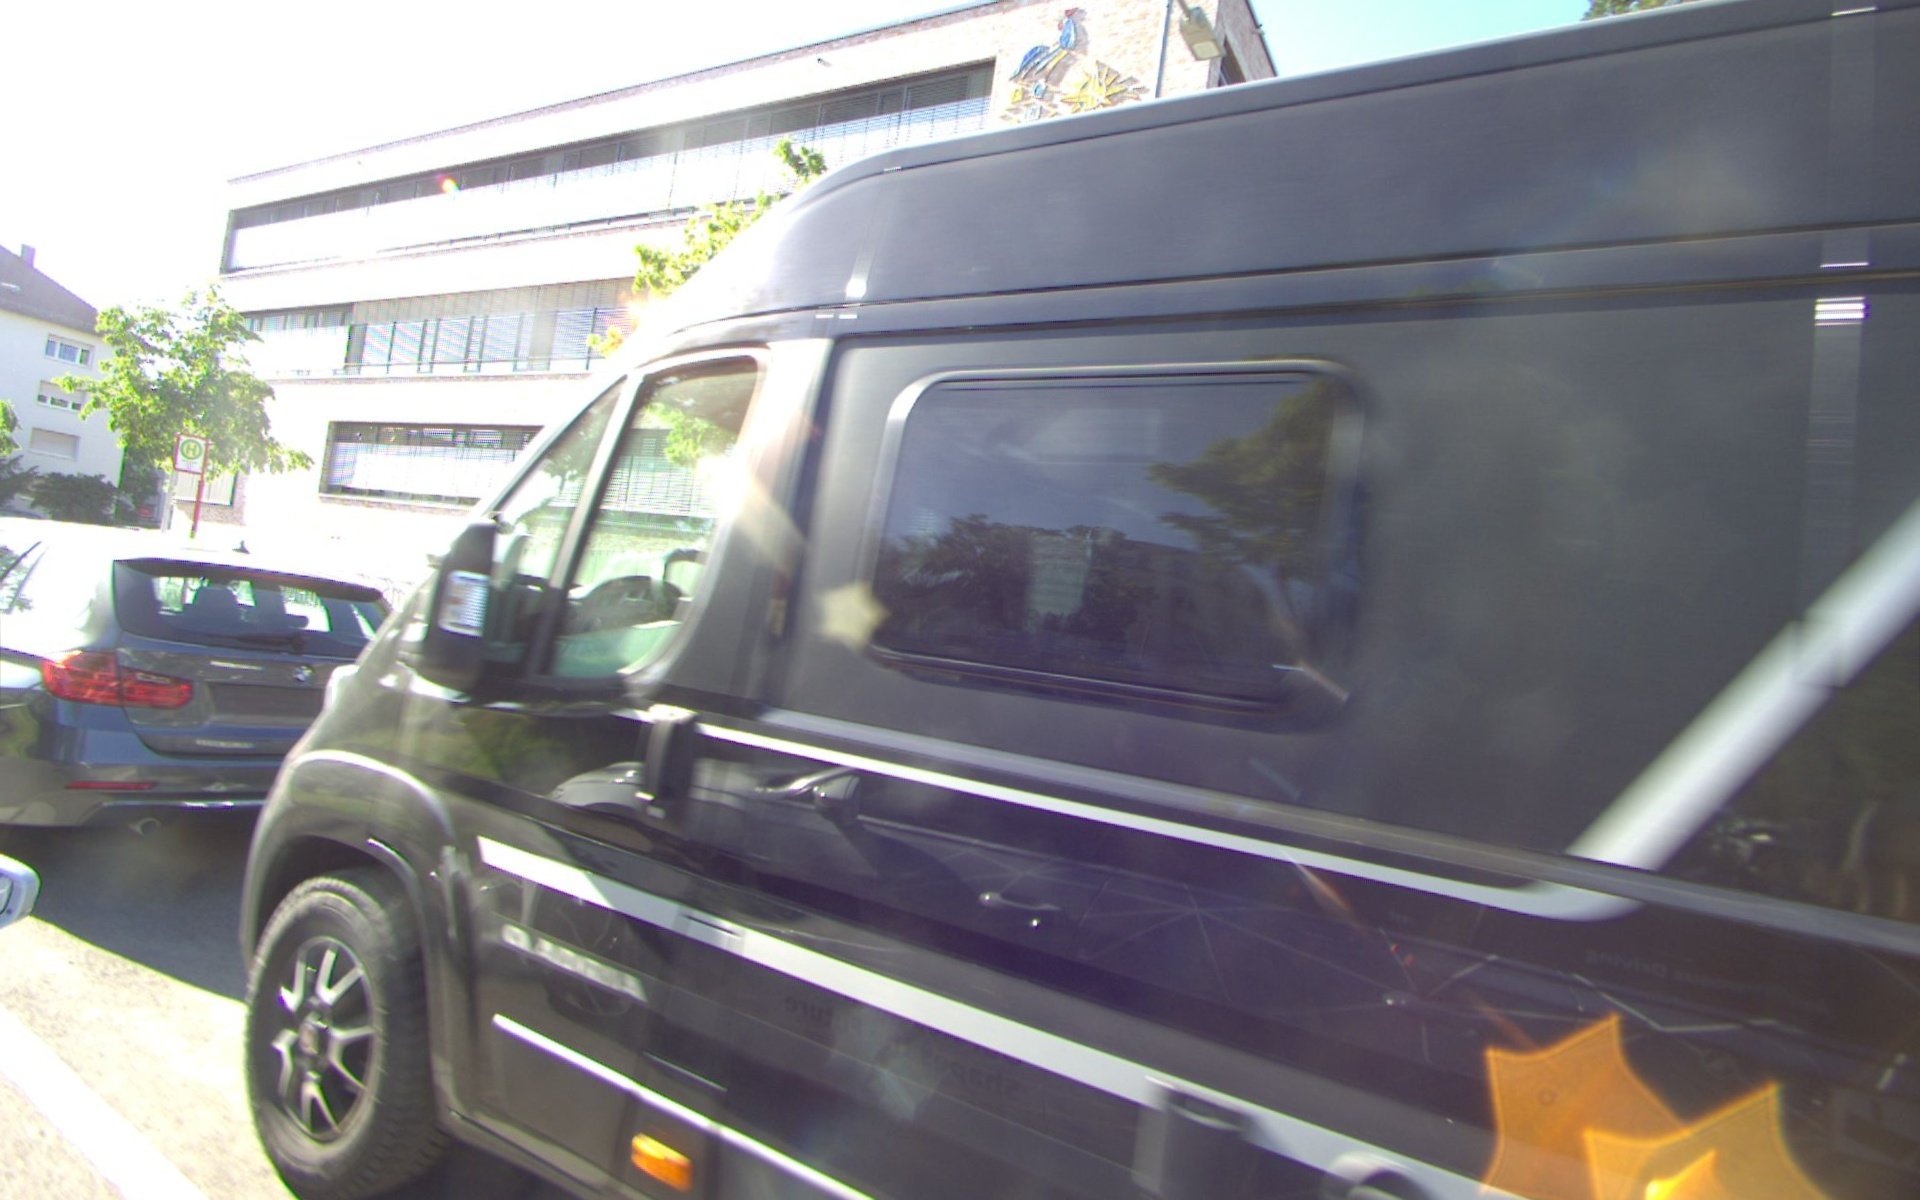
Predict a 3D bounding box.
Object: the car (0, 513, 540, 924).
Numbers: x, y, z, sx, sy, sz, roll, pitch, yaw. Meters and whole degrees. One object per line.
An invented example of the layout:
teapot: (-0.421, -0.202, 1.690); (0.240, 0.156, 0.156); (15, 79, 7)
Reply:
car: (-4.709, 0.329, 5.607); (4.559, 1.436, 1.998); (6, -3, 32)

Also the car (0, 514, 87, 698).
car: (-9.732, -0.213, 8.751); (4.580, 1.436, 1.798); (6, -2, 31)

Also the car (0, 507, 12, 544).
car: (-46.211, -3.748, 45.436); (1.769, 1.640, 4.493); (5, -4, 29)

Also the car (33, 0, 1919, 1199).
car: (0.876, 0.411, 2.093); (6.422, 2.544, 2.120); (6, -2, 30)

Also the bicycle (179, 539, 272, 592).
bicycle: (-18.552, -0.864, 25.451); (0.491, 1.121, 1.797); (7, 0, 29)

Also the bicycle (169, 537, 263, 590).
bicycle: (-18.994, -0.914, 25.720); (0.491, 1.121, 1.797); (7, 0, 29)

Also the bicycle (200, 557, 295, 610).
bicycle: (-17.554, -0.391, 24.821); (0.491, 1.121, 1.797); (7, 0, 29)
